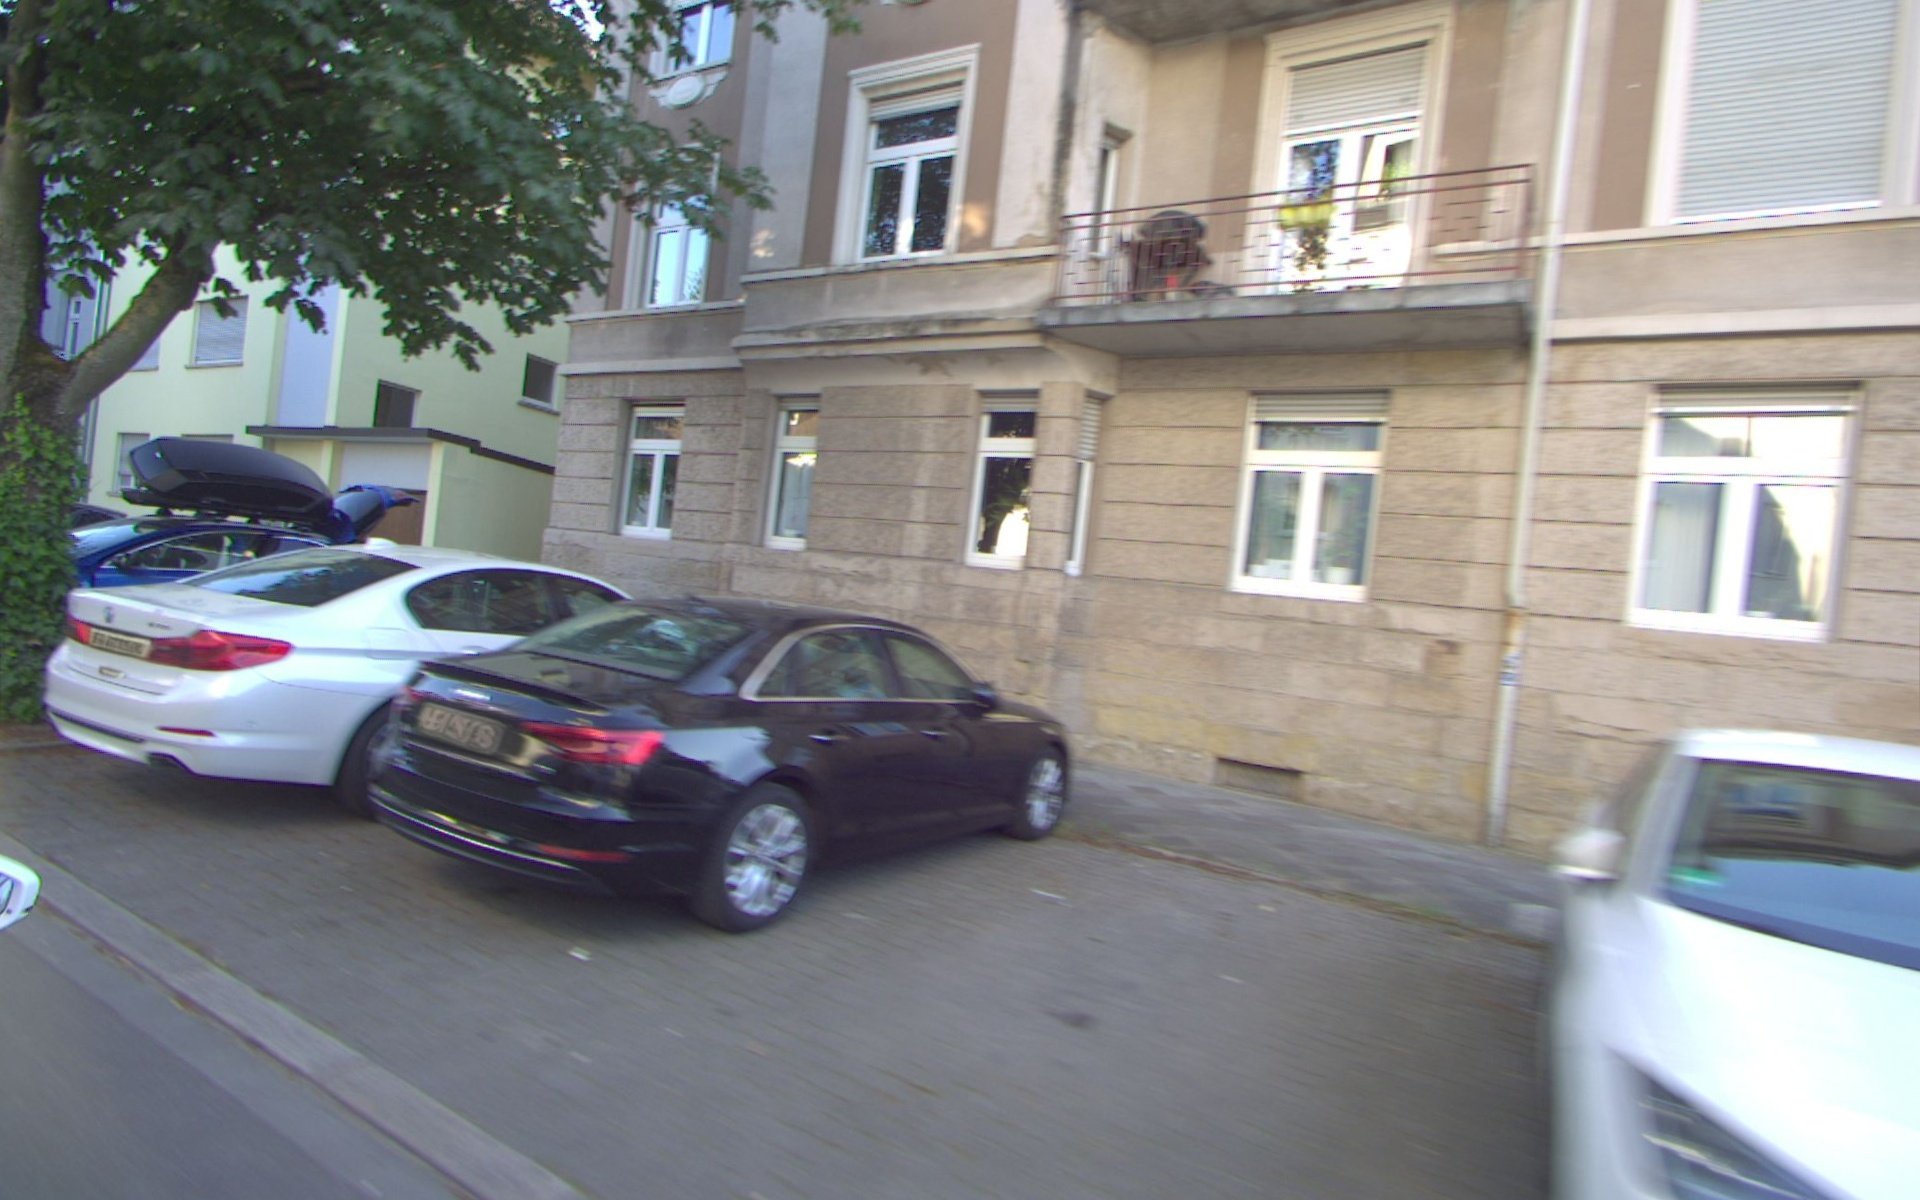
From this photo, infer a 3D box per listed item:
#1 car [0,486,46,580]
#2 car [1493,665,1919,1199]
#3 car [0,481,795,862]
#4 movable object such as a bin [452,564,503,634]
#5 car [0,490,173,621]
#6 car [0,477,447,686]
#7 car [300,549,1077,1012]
[{"bbox_3d":[-18.065,-1.352,16.691,1.697,1.577,3.928,7,0,33],"label":"car"},{"bbox_3d":[2.622,1.067,2.805,1.830,1.524,4.054,7,0,30],"label":"car"},{"bbox_3d":[-3.278,0.353,6.819,1.919,1.545,4.485,8,1,25],"label":"car"},{"bbox_3d":[-8.081,-0.017,16.847,0.523,1.099,0.456,5,-1,32],"label":"movable object such as a bin"},{"bbox_3d":[-13.091,-0.707,12.964,1.842,1.577,4.196,7,0,30],"label":"car"},{"bbox_3d":[-7.699,-0.141,9.699,1.842,1.661,4.533,7,0,30],"label":"car"},{"bbox_3d":[-0.992,0.699,5.622,1.645,1.466,4.147,7,1,30],"label":"car"}]
